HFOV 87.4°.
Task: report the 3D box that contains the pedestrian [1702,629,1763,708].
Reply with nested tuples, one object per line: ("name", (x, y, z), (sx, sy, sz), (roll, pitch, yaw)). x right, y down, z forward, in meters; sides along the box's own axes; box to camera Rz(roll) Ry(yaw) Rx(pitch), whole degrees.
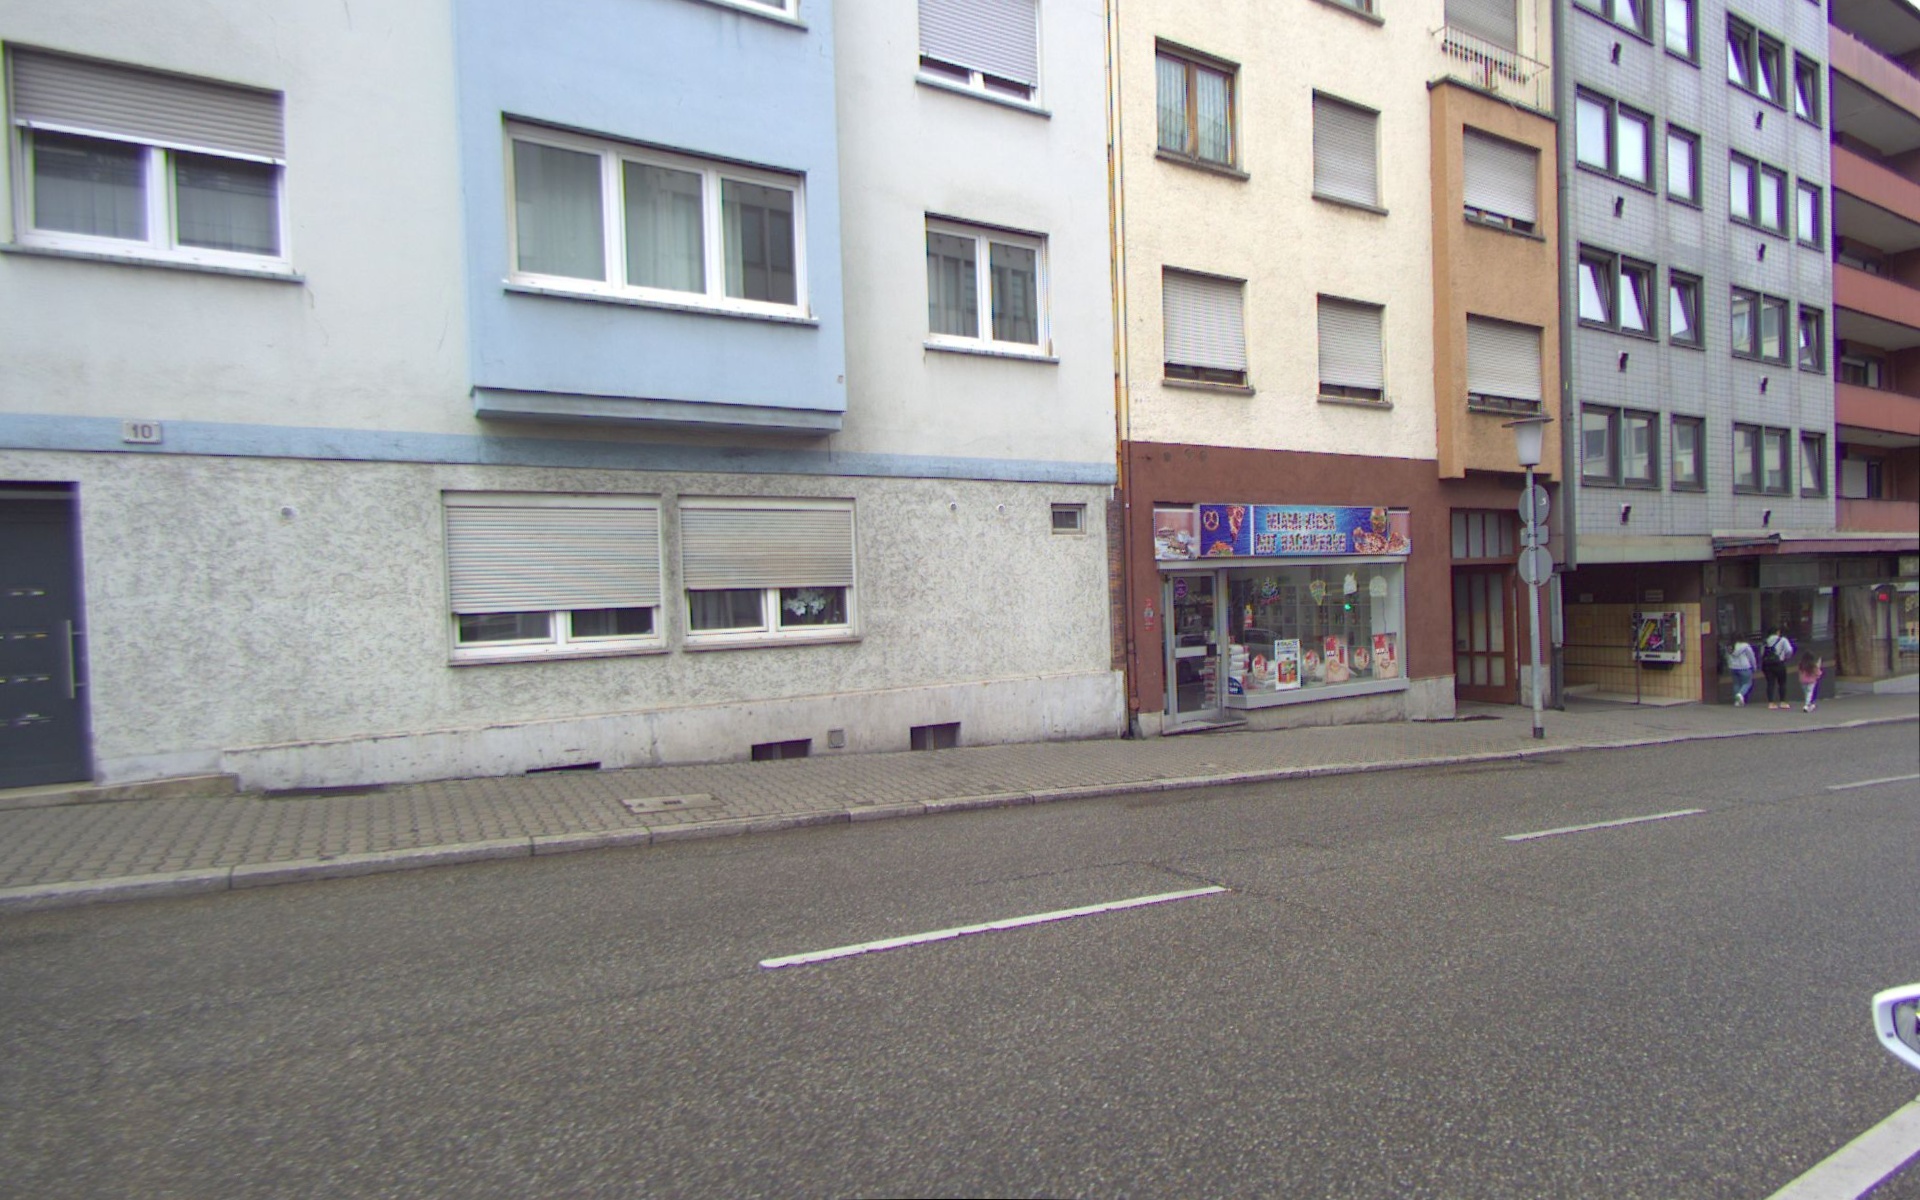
("pedestrian", (16.333, 1.427, 21.242), (0.717, 1.581, 0.821), (1, 1, -38))

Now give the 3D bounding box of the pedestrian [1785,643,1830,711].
("pedestrian", (17.476, 1.573, 20.712), (0.717, 1.341, 0.529), (1, 1, -39))

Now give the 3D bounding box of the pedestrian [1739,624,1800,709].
("pedestrian", (17.185, 1.388, 21.335), (0.717, 1.712, 0.821), (1, 1, -38))
